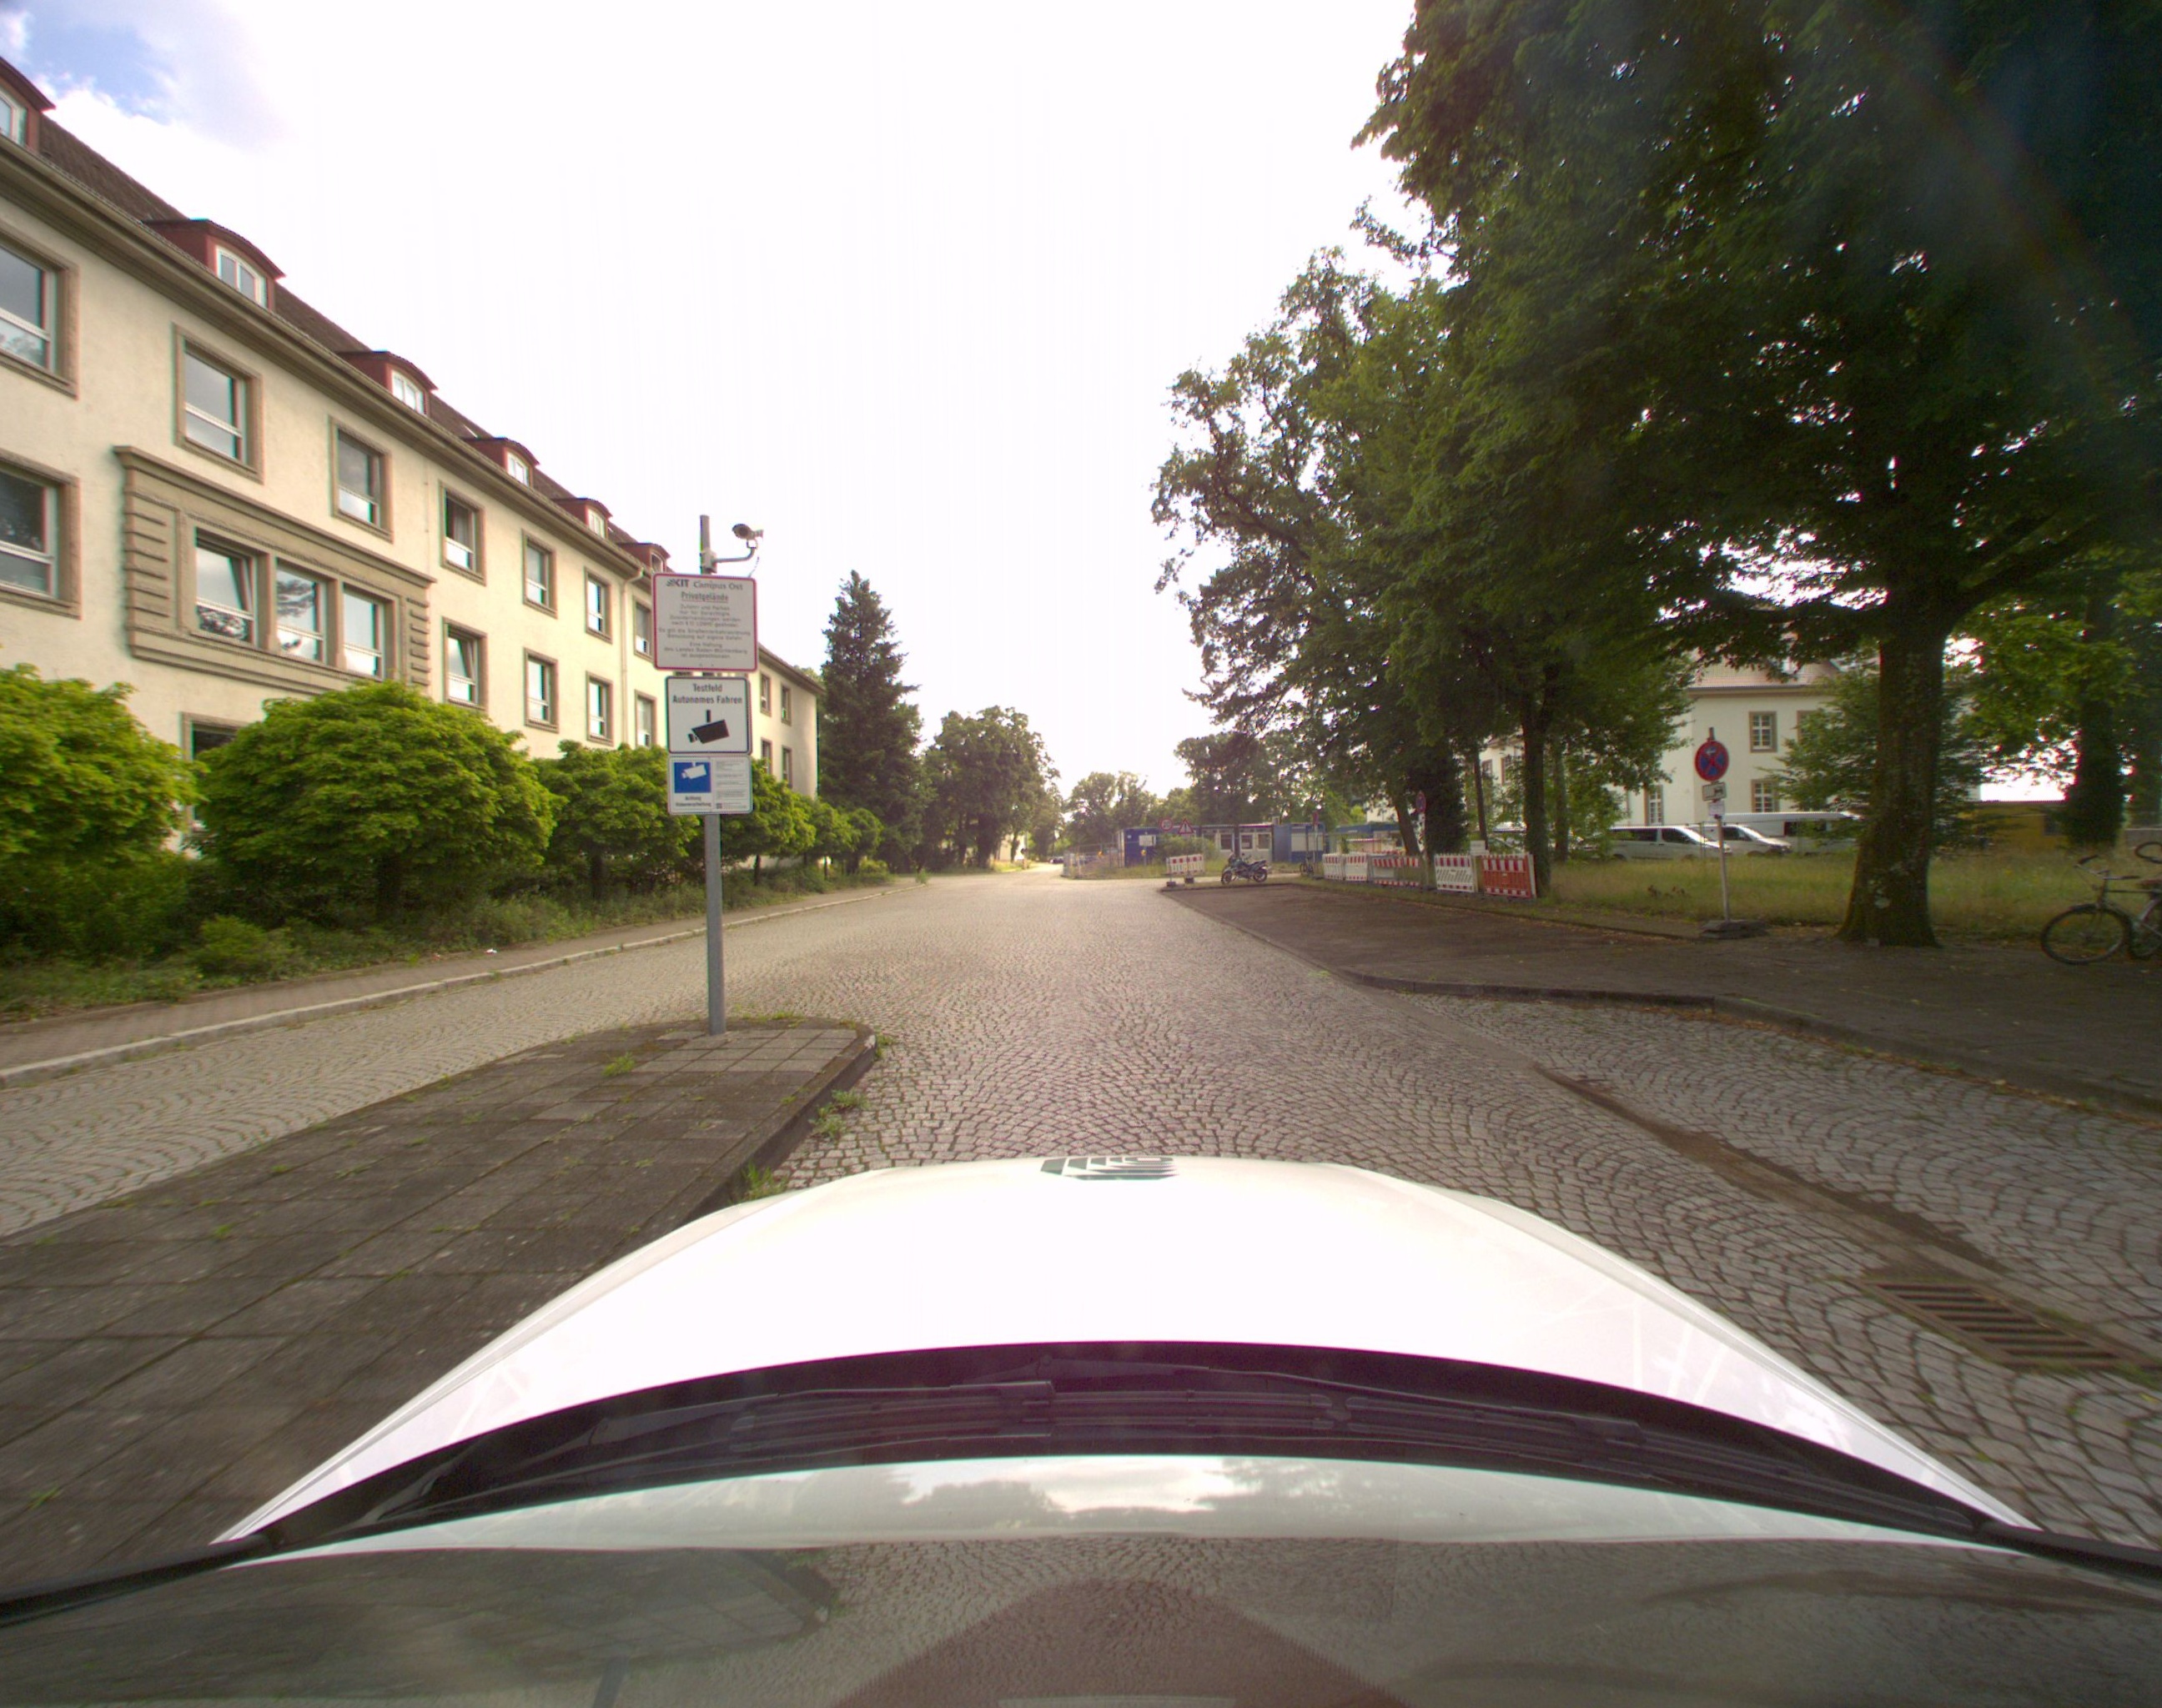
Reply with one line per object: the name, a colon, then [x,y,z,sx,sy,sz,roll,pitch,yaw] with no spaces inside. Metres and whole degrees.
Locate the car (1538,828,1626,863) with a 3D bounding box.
car: [27.997,-0.433,45.697,1.987,1.825,4.875,0,-1,1]

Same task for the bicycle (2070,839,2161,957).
bicycle: [10.713,0.422,7.720,0.595,1.117,1.634,-3,0,-2]

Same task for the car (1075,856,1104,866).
car: [1.353,1.110,131.489,4.379,1.510,2.004,0,-1,6]

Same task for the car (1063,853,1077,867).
car: [-1.745,0.958,125.536,1.989,2.014,4.087,-1,-1,-2]

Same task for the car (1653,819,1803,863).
car: [28.580,-0.516,36.152,2.005,1.825,4.830,0,-1,-28]

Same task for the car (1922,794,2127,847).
car: [39.729,-1.390,34.405,6.122,2.095,2.212,0,-1,-1]

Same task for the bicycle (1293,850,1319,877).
bicycle: [10.070,0.420,36.471,0.640,1.169,1.905,-2,0,1]

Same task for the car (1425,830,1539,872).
car: [20.296,-0.176,41.346,4.843,1.920,1.906,-2,1,-1]

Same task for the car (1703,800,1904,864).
car: [31.830,-0.841,36.177,2.006,2.578,6.360,0,-1,-30]

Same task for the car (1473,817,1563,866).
car: [24.344,-0.620,45.684,1.986,2.556,5.910,0,-1,1]

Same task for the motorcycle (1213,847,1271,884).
motorcycle: [6.897,0.471,34.884,2.274,1.485,0.755,-2,0,-7]

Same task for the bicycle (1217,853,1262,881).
bicycle: [7.273,0.579,37.371,1.883,1.197,0.659,-2,0,18]

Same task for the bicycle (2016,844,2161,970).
bicycle: [10.089,0.478,7.671,0.595,1.117,1.634,-3,0,-2]

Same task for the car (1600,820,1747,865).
car: [25.898,-0.456,35.800,2.005,1.825,4.830,0,-1,-28]
